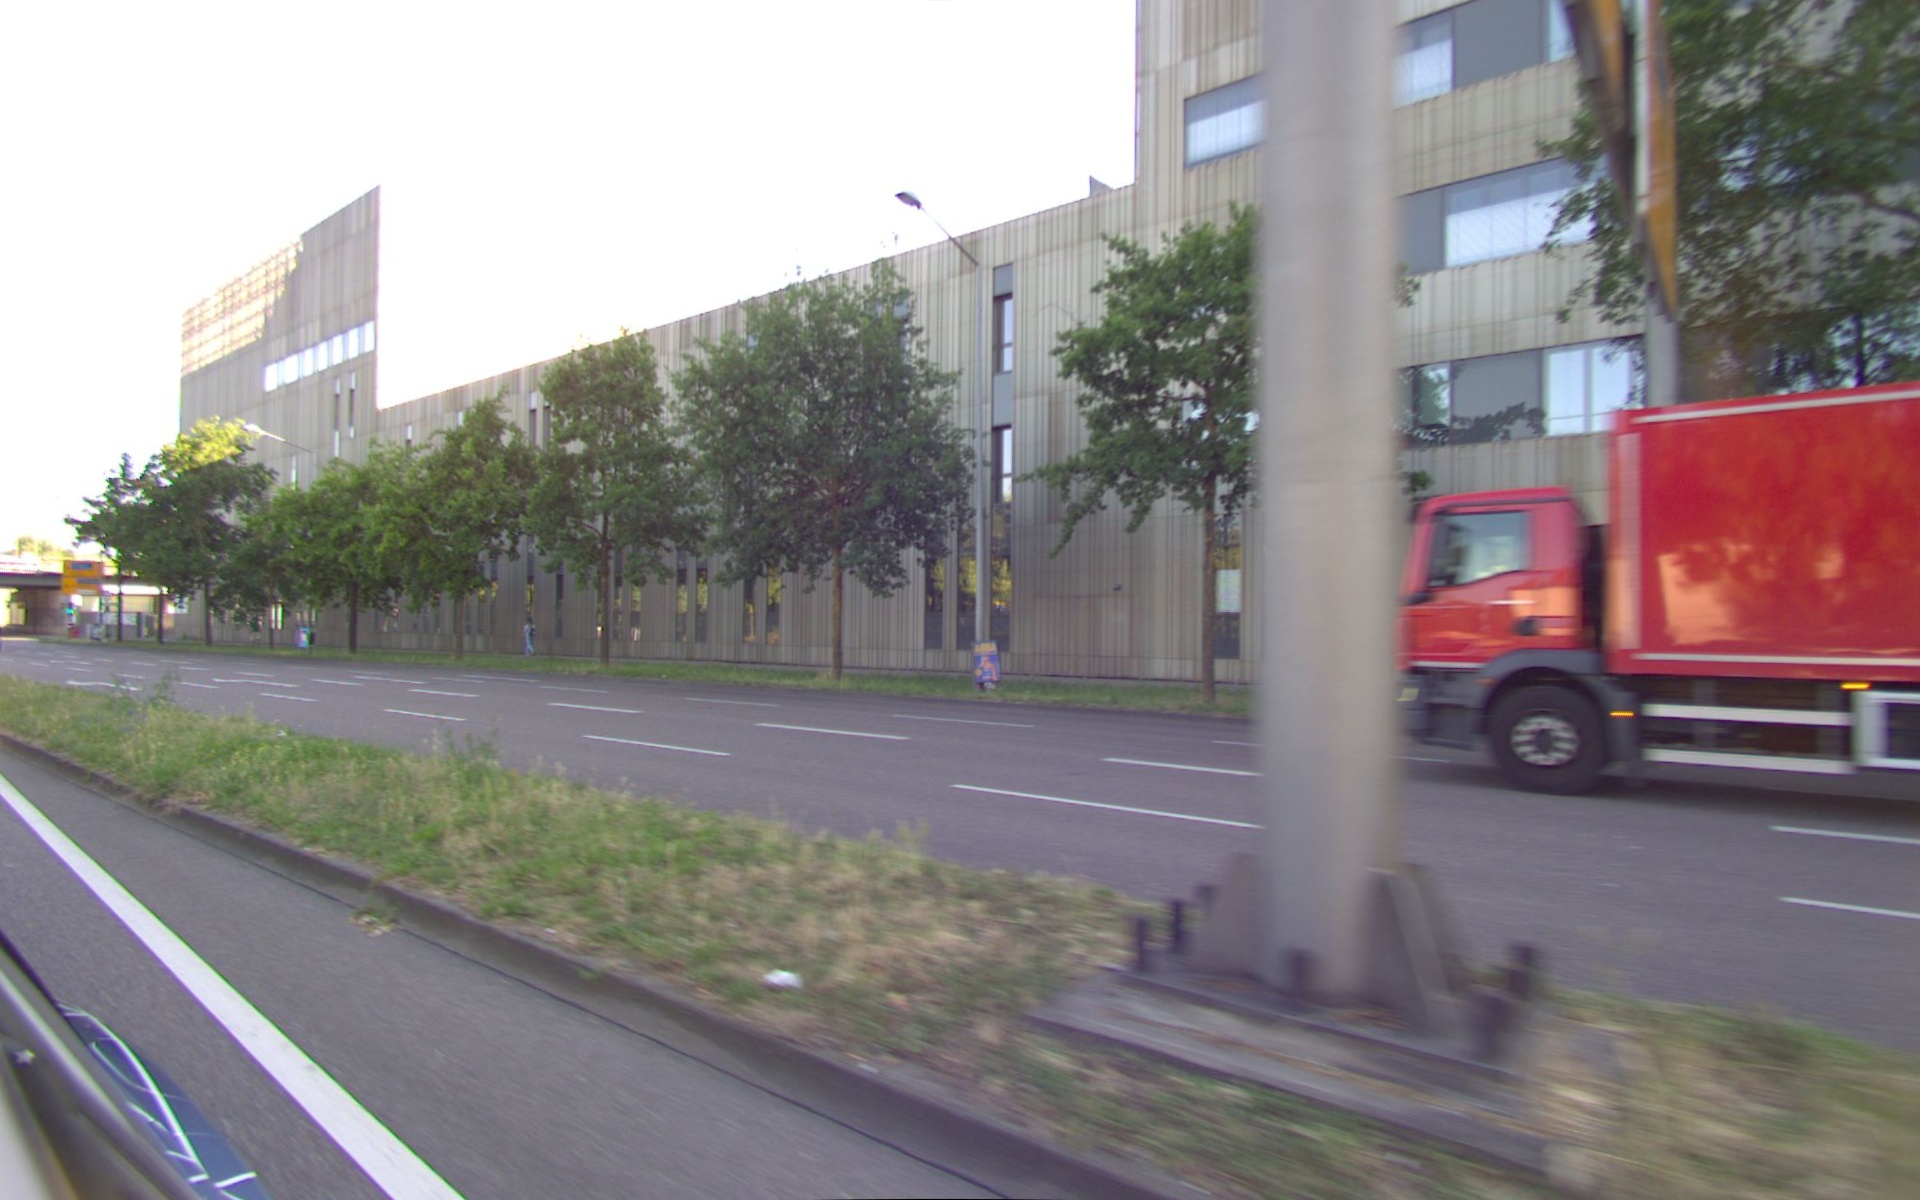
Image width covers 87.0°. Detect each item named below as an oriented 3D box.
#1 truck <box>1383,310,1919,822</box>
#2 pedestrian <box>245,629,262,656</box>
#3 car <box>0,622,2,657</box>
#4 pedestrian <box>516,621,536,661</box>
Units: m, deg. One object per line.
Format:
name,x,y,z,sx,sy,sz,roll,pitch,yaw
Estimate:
truck,9.044,-0.250,8.029,10.075,3.840,2.969,-1,-2,38
pedestrian,-43.277,2.585,61.982,0.724,1.641,0.690,-1,-2,39
car,-51.856,2.036,52.994,4.398,1.830,1.973,-1,-3,40
pedestrian,-19.622,1.861,45.720,0.648,1.781,0.596,-1,-2,40
